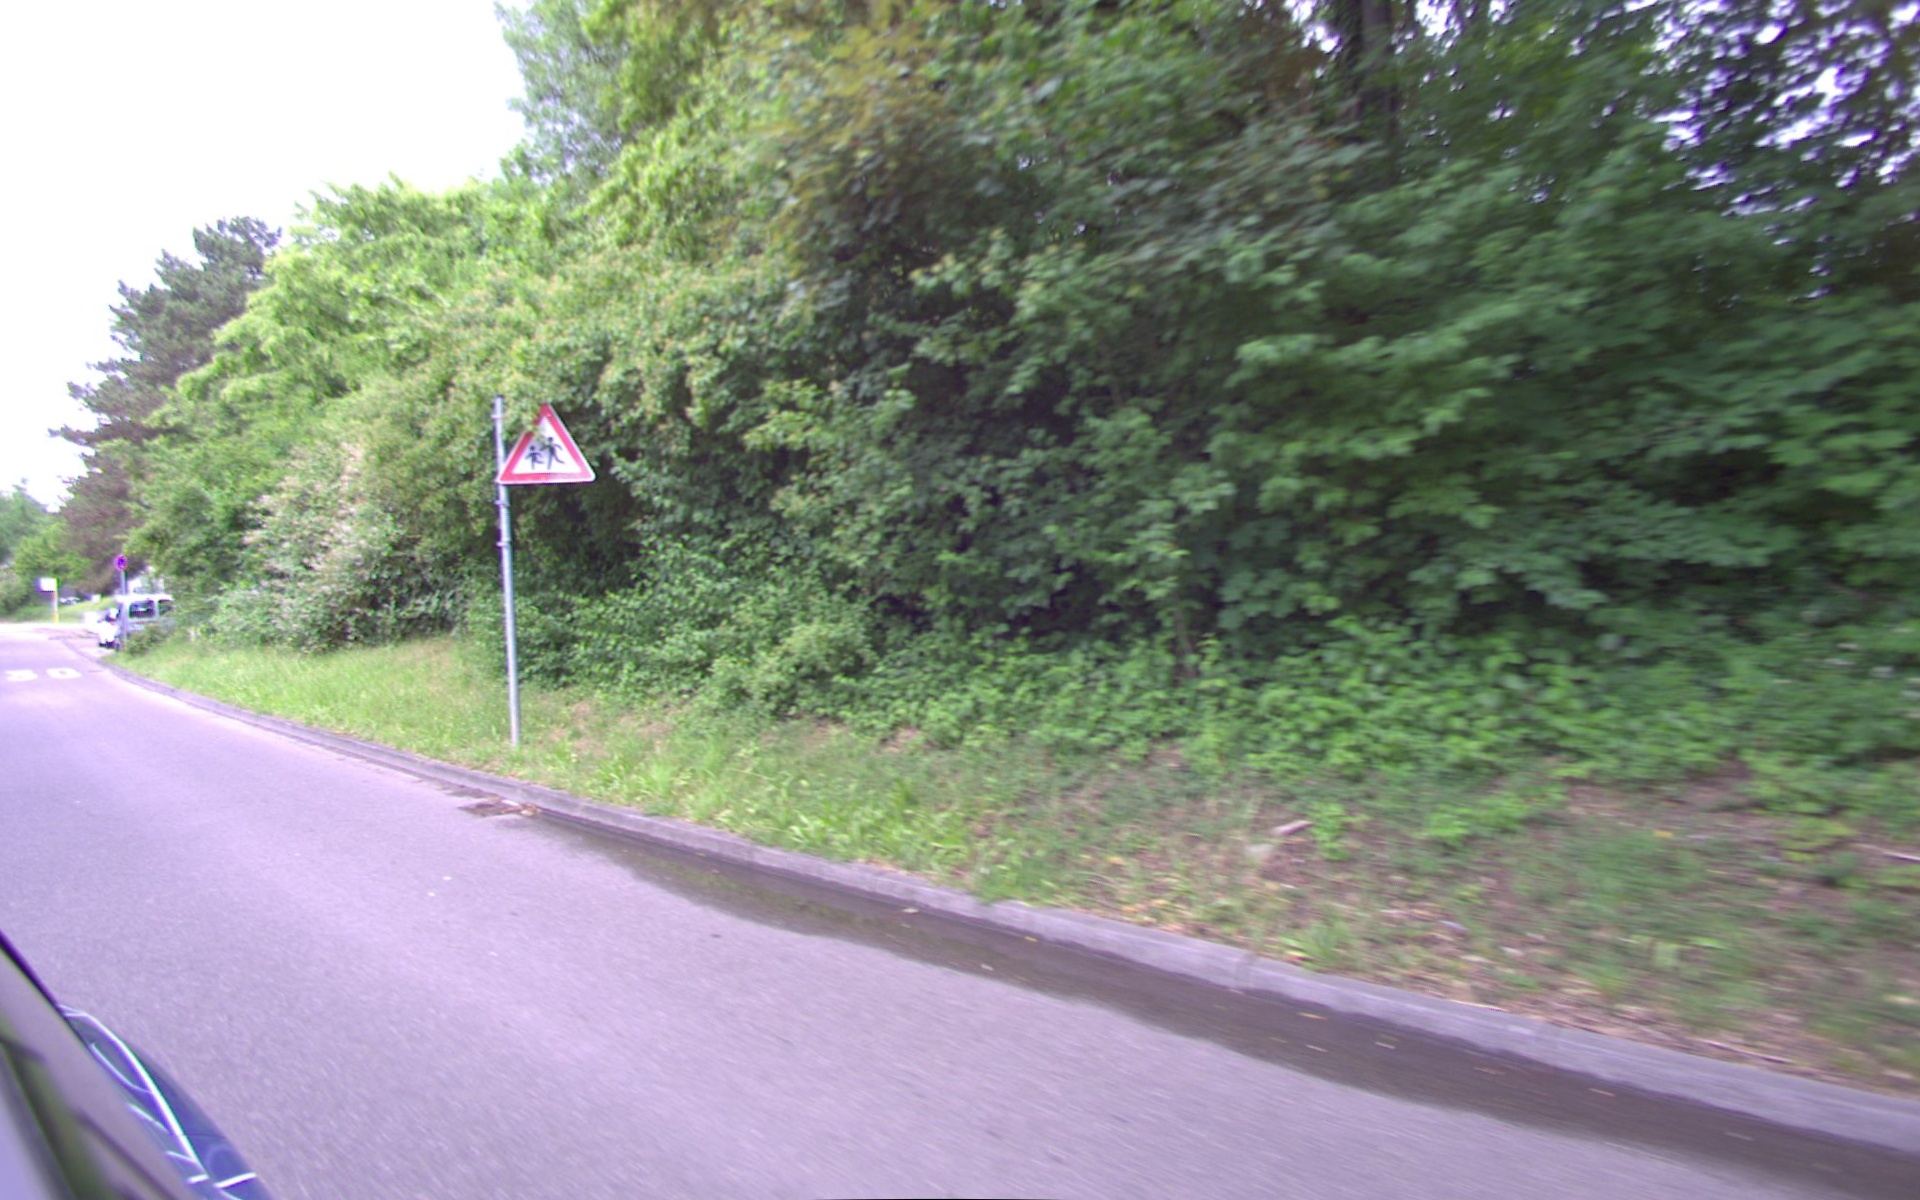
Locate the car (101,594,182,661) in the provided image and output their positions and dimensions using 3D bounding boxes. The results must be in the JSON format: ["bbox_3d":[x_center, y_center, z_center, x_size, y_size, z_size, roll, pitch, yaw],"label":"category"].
[{"bbox_3d":[-26.445,0.885,32.647,1.700,1.935,4.109,-4,2,-42],"label":"car"}]

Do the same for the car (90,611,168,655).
[{"bbox_3d":[-30.877,1.198,37.568,1.785,1.413,4.374,-4,2,-45],"label":"car"}]
